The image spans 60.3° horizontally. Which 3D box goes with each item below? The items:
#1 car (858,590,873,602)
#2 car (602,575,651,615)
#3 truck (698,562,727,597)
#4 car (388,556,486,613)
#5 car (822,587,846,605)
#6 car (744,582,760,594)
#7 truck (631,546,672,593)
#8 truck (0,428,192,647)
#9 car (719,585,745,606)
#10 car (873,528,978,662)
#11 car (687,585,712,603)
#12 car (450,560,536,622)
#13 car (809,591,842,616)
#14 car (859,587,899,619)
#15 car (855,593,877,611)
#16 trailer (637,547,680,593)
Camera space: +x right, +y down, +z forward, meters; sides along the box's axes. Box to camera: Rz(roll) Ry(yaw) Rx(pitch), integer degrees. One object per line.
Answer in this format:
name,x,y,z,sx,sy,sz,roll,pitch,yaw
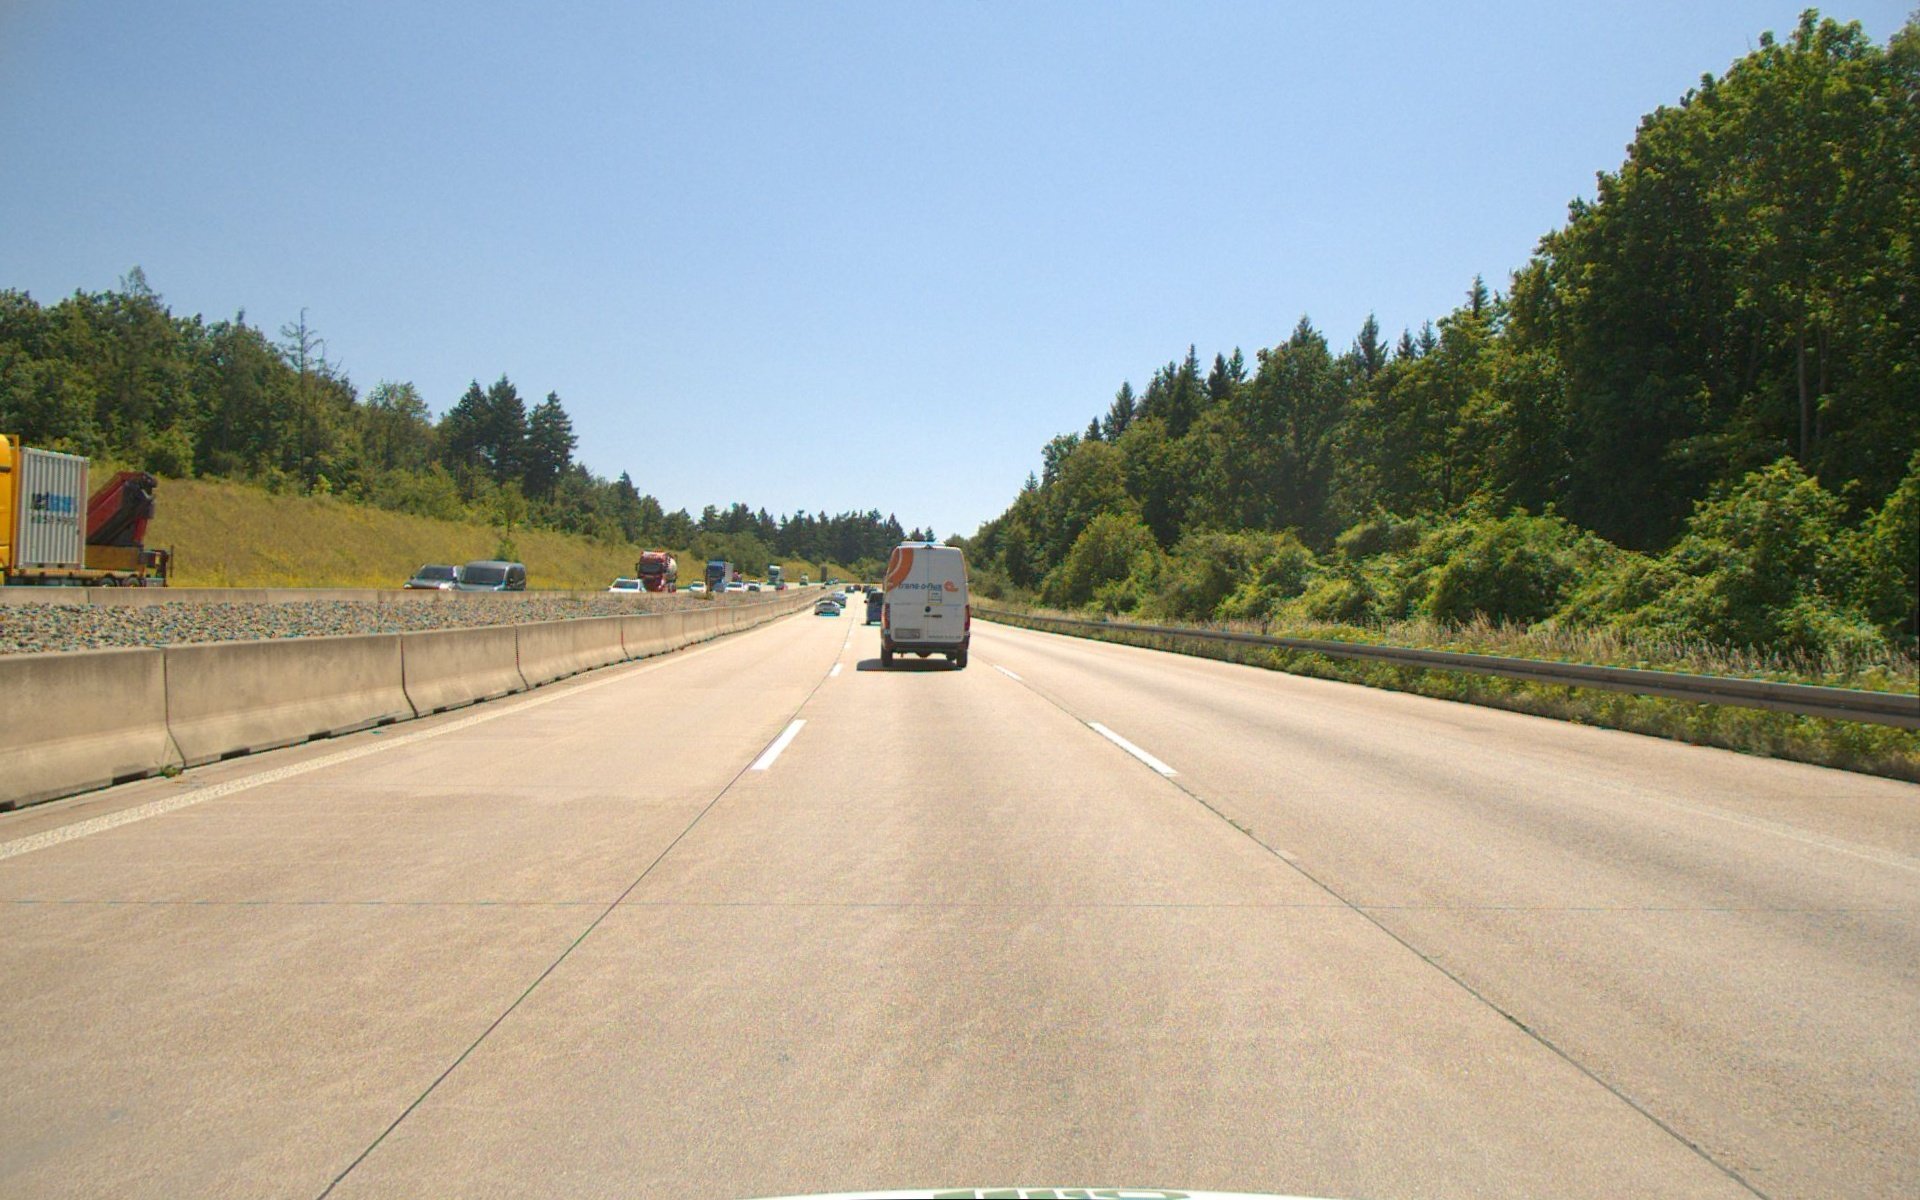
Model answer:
car,-14.002,-0.618,245.900,1.953,1.713,4.000,3,0,0
car,-17.608,-0.247,87.570,1.954,2.049,4.456,0,0,-4
truck,-33.791,-2.734,225.741,3.193,4.583,6.569,3,0,-4
car,-19.782,-0.580,62.773,2.237,2.049,4.802,0,0,-1
car,-12.394,-0.395,163.398,1.953,1.713,4.000,3,0,0
car,-30.989,-1.756,246.312,1.954,1.610,5.515,2,0,-3
truck,-29.354,-2.880,157.528,2.875,4.241,5.978,3,0,-3
truck,-21.764,-1.341,38.553,2.855,4.592,11.253,1,0,-2
car,-22.286,-0.411,161.759,1.954,1.906,4.965,2,0,-3
car,-0.884,-0.136,38.481,2.182,2.894,5.450,0,1,-4
car,-25.318,-0.582,161.056,1.954,1.610,4.177,2,0,-3
car,-16.073,-0.289,57.145,1.954,2.049,4.456,0,0,-4
car,-9.878,0.239,121.769,1.953,1.713,4.000,3,0,0
car,-4.570,0.167,93.785,1.953,1.713,4.000,3,0,0
car,-9.535,0.203,167.698,1.953,1.713,4.000,3,0,0
trailer,-29.655,-2.885,162.937,2.875,4.241,9.328,3,0,-3
